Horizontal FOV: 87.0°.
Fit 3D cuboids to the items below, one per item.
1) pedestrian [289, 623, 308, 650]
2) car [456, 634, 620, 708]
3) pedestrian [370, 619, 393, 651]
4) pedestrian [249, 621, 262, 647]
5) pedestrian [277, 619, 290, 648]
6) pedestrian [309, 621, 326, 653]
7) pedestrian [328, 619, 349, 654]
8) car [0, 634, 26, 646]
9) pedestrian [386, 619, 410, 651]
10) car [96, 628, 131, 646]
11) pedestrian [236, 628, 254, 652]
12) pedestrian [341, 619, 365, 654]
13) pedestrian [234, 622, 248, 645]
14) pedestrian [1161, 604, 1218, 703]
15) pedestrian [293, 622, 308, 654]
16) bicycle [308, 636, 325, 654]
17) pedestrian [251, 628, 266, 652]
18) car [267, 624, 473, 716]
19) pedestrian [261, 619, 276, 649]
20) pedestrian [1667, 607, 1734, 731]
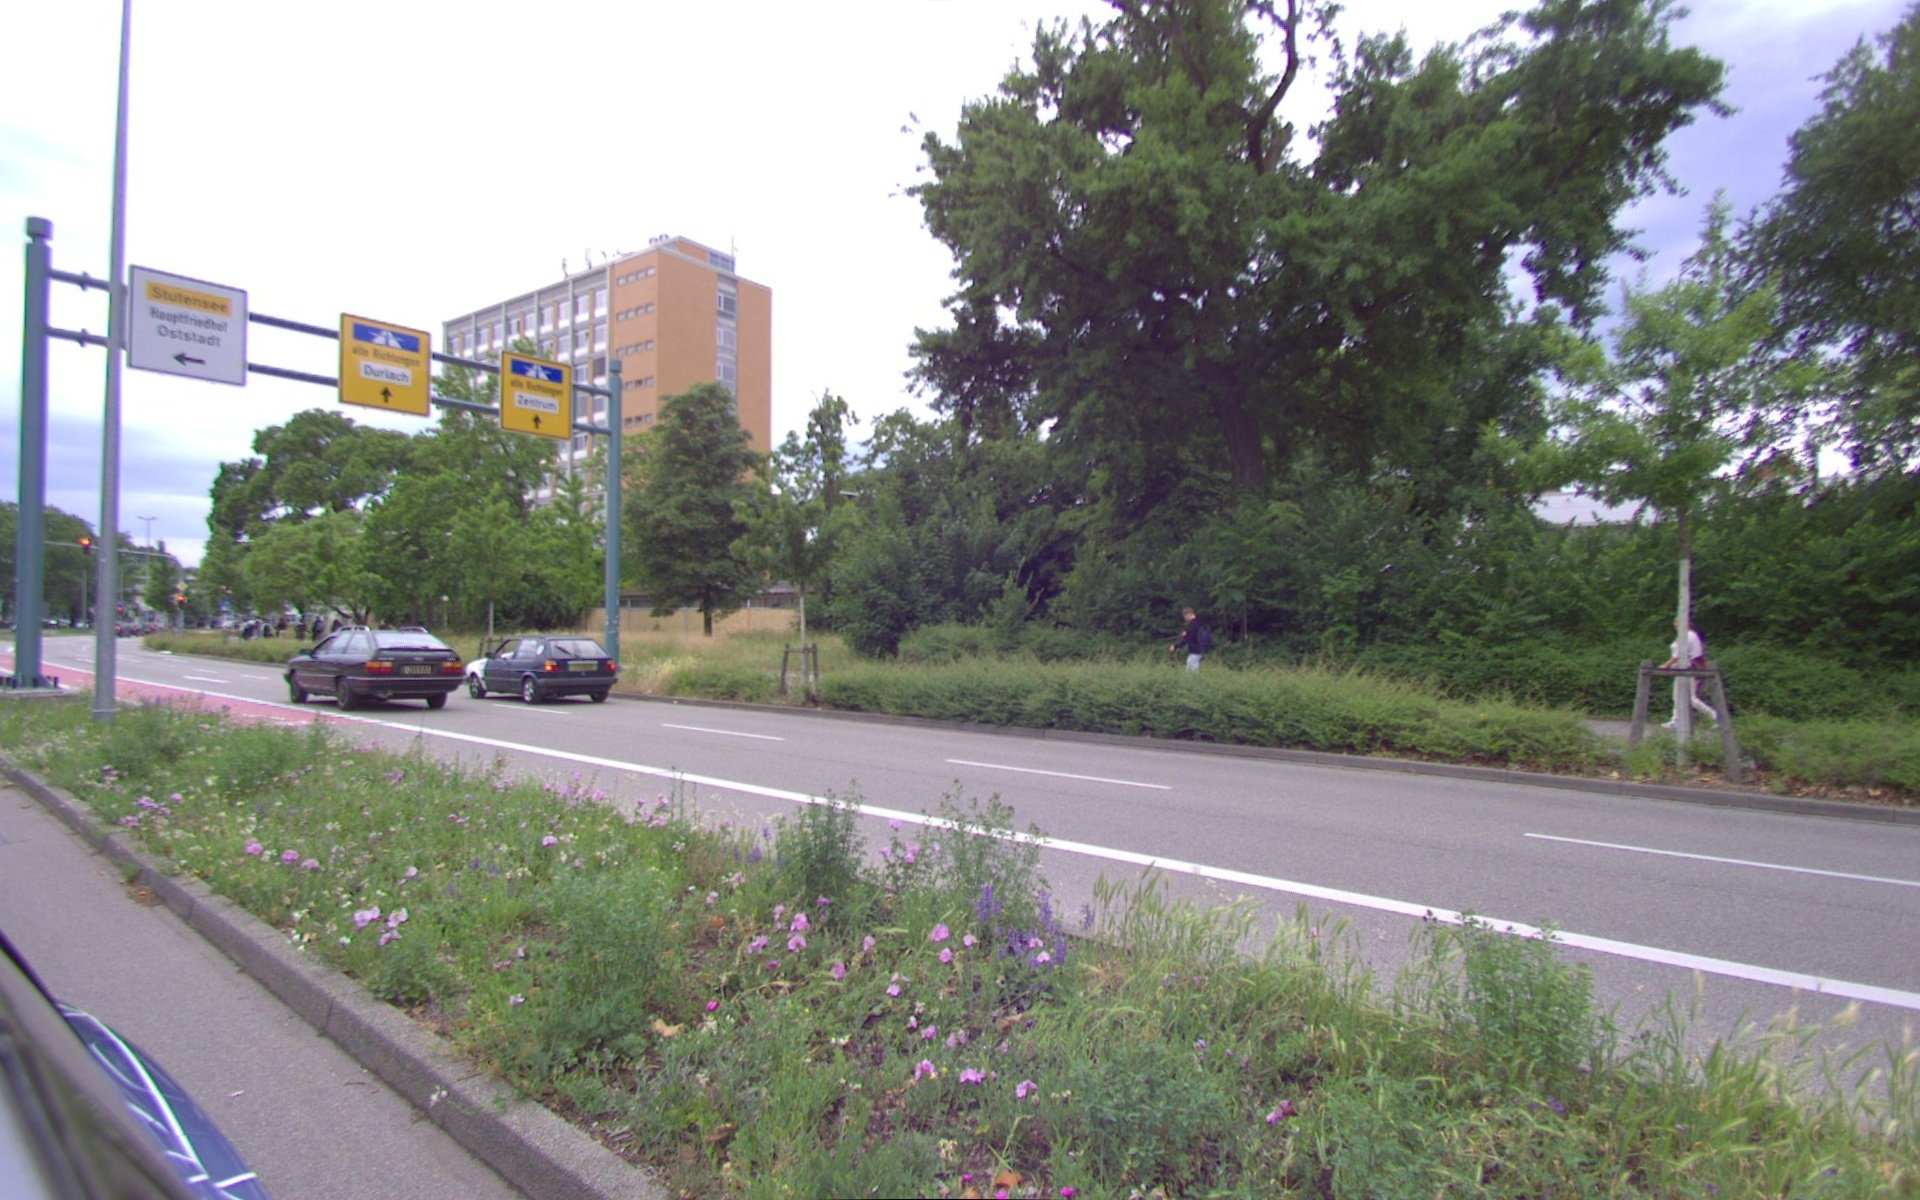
[{"bbox_3d":[-40.407,2.228,61.807,0.823,1.625,0.631,-2,-1,19],"label":"pedestrian"},{"bbox_3d":[-8.787,1.425,20.951,3.807,1.391,1.591,-2,-4,41],"label":"car"},{"bbox_3d":[-24.984,1.522,43.706,0.711,1.368,0.638,-2,-4,40],"label":"pedestrian"},{"bbox_3d":[-50.284,2.437,72.216,0.762,1.815,0.630,-2,-3,44],"label":"pedestrian"},{"bbox_3d":[-39.525,1.960,59.113,0.571,1.725,0.764,3,-4,-32],"label":"pedestrian"},{"bbox_3d":[-33.291,1.931,52.405,0.652,1.644,0.765,3,-4,-34],"label":"pedestrian"},{"bbox_3d":[-29.835,1.750,48.592,0.719,1.673,0.580,-1,-4,35],"label":"pedestrian"},{"bbox_3d":[-107.691,4.553,114.901,1.756,1.271,3.541,0,-1,-31],"label":"car"},{"bbox_3d":[-24.612,1.538,44.324,0.680,1.373,0.638,-2,-4,39],"label":"pedestrian"},{"bbox_3d":[-85.817,3.761,102.636,1.785,1.680,3.962,2,-2,-27],"label":"car"},{"bbox_3d":[-44.633,2.485,63.153,0.813,1.491,0.720,-2,-4,44],"label":"pedestrian"},{"bbox_3d":[-29.503,1.778,49.195,0.766,1.685,0.700,-1,-4,35],"label":"pedestrian"},{"bbox_3d":[-53.527,2.517,75.326,0.943,1.683,0.698,-2,-2,44],"label":"pedestrian"},{"bbox_3d":[4.161,0.974,18.374,0.818,1.742,0.613,-2,-4,41],"label":"pedestrian"},{"bbox_3d":[-33.770,1.929,51.846,0.567,1.621,0.618,3,-4,-33],"label":"pedestrian"},{"bbox_3d":[-33.298,2.337,52.387,0.652,0.894,1.719,3,-4,-34],"label":"bicycle"},{"bbox_3d":[-44.131,2.513,63.666,0.762,1.491,0.628,-2,-4,44],"label":"pedestrian"},{"bbox_3d":[-10.989,1.229,18.700,4.788,1.471,1.746,-1,-4,40],"label":"car"},{"bbox_3d":[-40.113,1.963,58.726,0.613,1.708,0.749,3,-4,-32],"label":"pedestrian"},{"bbox_3d":[10.240,0.945,13.991,0.671,1.648,0.693,-2,-4,41],"label":"pedestrian"}]
